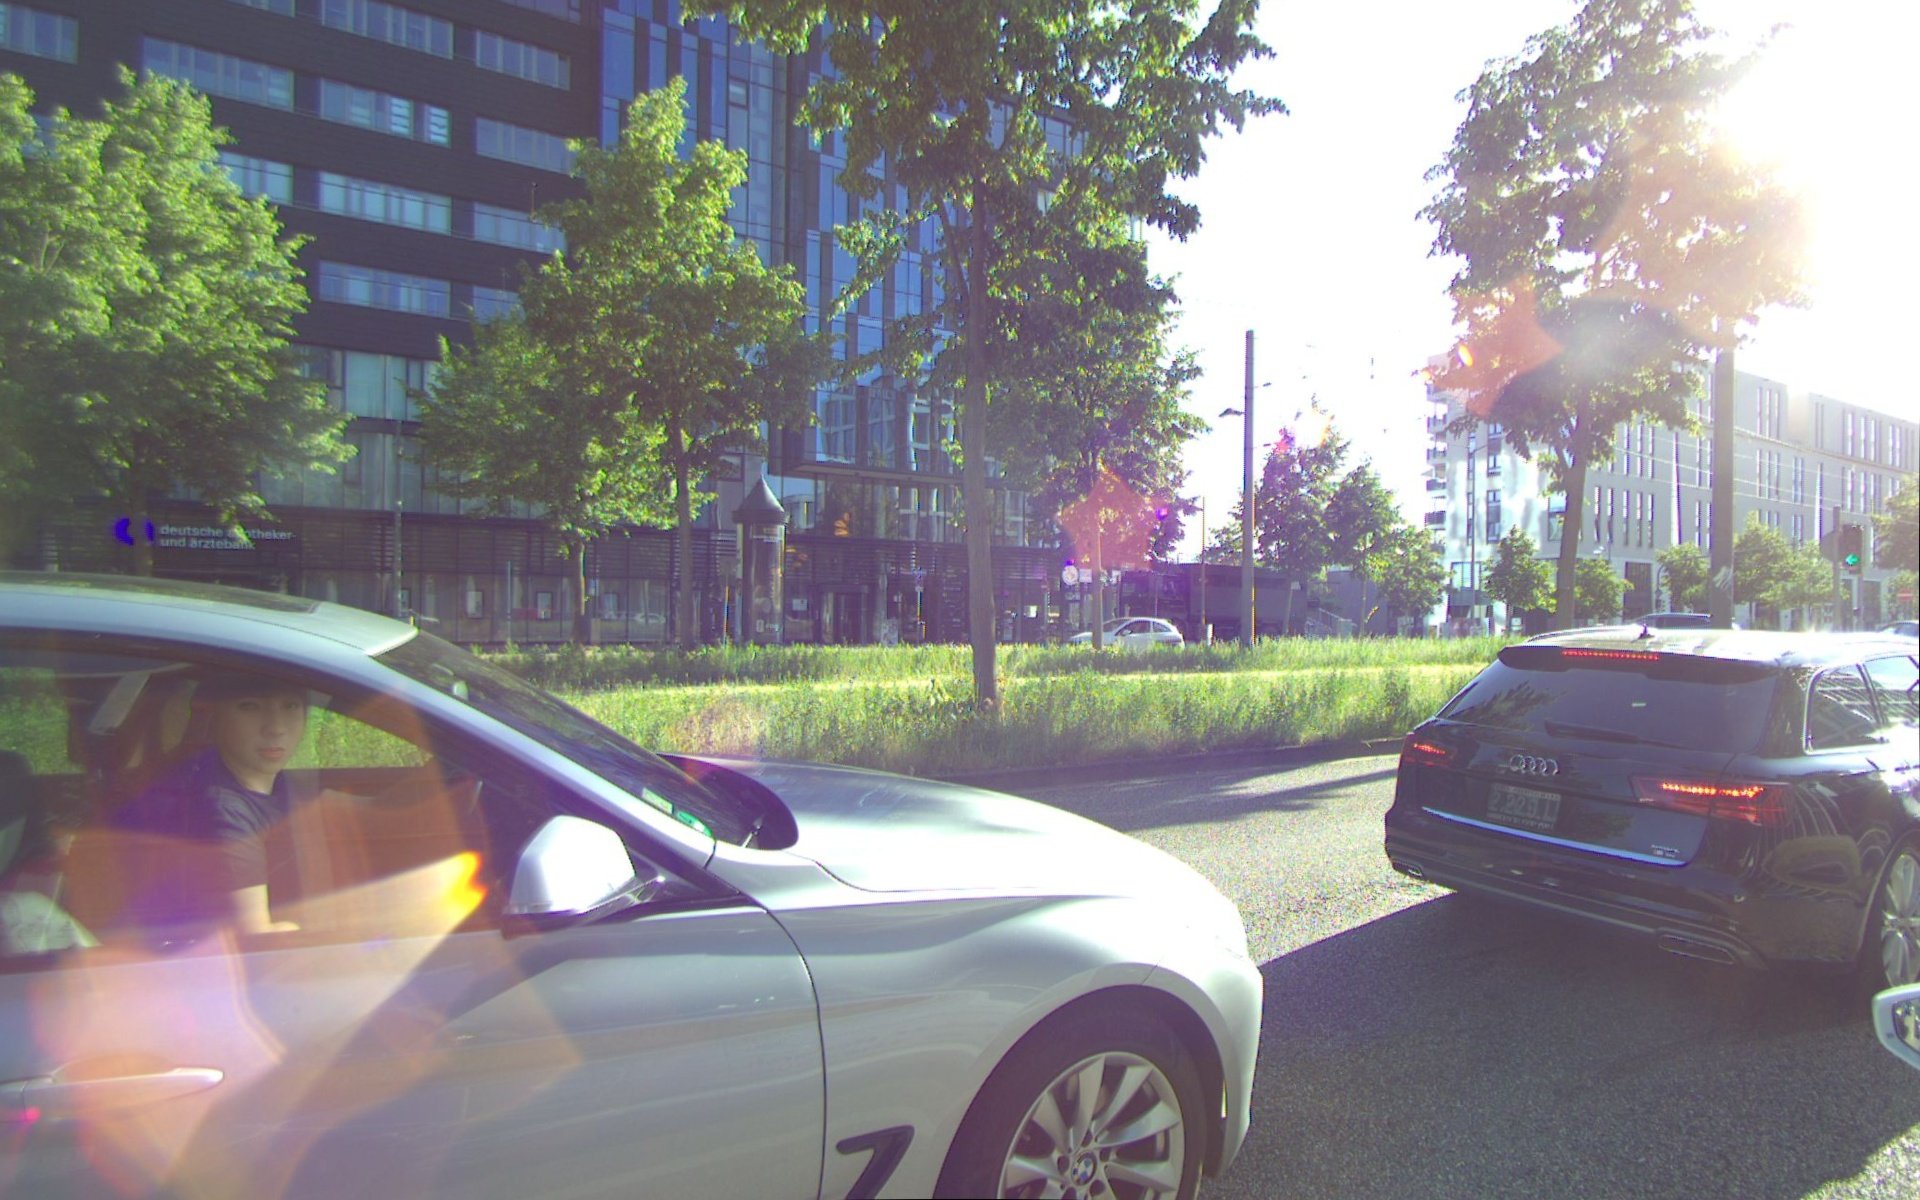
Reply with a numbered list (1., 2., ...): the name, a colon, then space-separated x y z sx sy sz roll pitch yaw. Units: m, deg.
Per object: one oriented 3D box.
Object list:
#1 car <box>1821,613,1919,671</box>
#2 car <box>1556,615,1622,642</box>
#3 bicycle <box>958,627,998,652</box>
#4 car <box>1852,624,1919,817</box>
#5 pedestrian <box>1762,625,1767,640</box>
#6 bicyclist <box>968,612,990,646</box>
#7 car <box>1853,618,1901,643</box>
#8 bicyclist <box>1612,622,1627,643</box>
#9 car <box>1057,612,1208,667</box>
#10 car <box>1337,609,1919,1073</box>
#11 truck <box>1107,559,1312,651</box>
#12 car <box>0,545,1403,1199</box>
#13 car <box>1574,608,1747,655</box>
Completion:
1. car: 25.864 1.116 27.423 1.768 1.467 4.571 1 -1 15
2. car: 37.526 1.688 59.903 3.953 1.540 1.756 1 -1 -30
3. bicycle: 0.784 1.710 43.363 1.735 1.049 0.475 1 -1 -31
4. car: 9.314 0.949 8.185 4.288 1.445 1.833 1 -1 -30
5. pedestrian: 75.646 3.083 94.448 0.275 1.373 0.295 1 0 -30
6. bicyclist: 0.814 1.250 43.381 0.811 1.443 0.475 1 -1 -30
7. car: 78.091 2.591 85.526 3.953 2.040 1.984 1 -1 -30
8. bicyclist: 49.252 2.445 75.022 0.706 1.549 0.674 1 0 -30
9. car: 5.452 1.233 31.614 4.514 1.503 1.790 1 2 -30
10. car: 4.399 0.838 5.364 4.911 1.504 1.864 1 -1 -32
11. truck: 11.691 0.306 46.496 10.094 3.904 2.877 1 -1 -31
12. car: -1.316 0.700 2.032 4.509 1.504 1.810 1 -1 -31
13. car: 23.498 1.016 33.818 1.792 1.467 4.510 1 -1 -43
